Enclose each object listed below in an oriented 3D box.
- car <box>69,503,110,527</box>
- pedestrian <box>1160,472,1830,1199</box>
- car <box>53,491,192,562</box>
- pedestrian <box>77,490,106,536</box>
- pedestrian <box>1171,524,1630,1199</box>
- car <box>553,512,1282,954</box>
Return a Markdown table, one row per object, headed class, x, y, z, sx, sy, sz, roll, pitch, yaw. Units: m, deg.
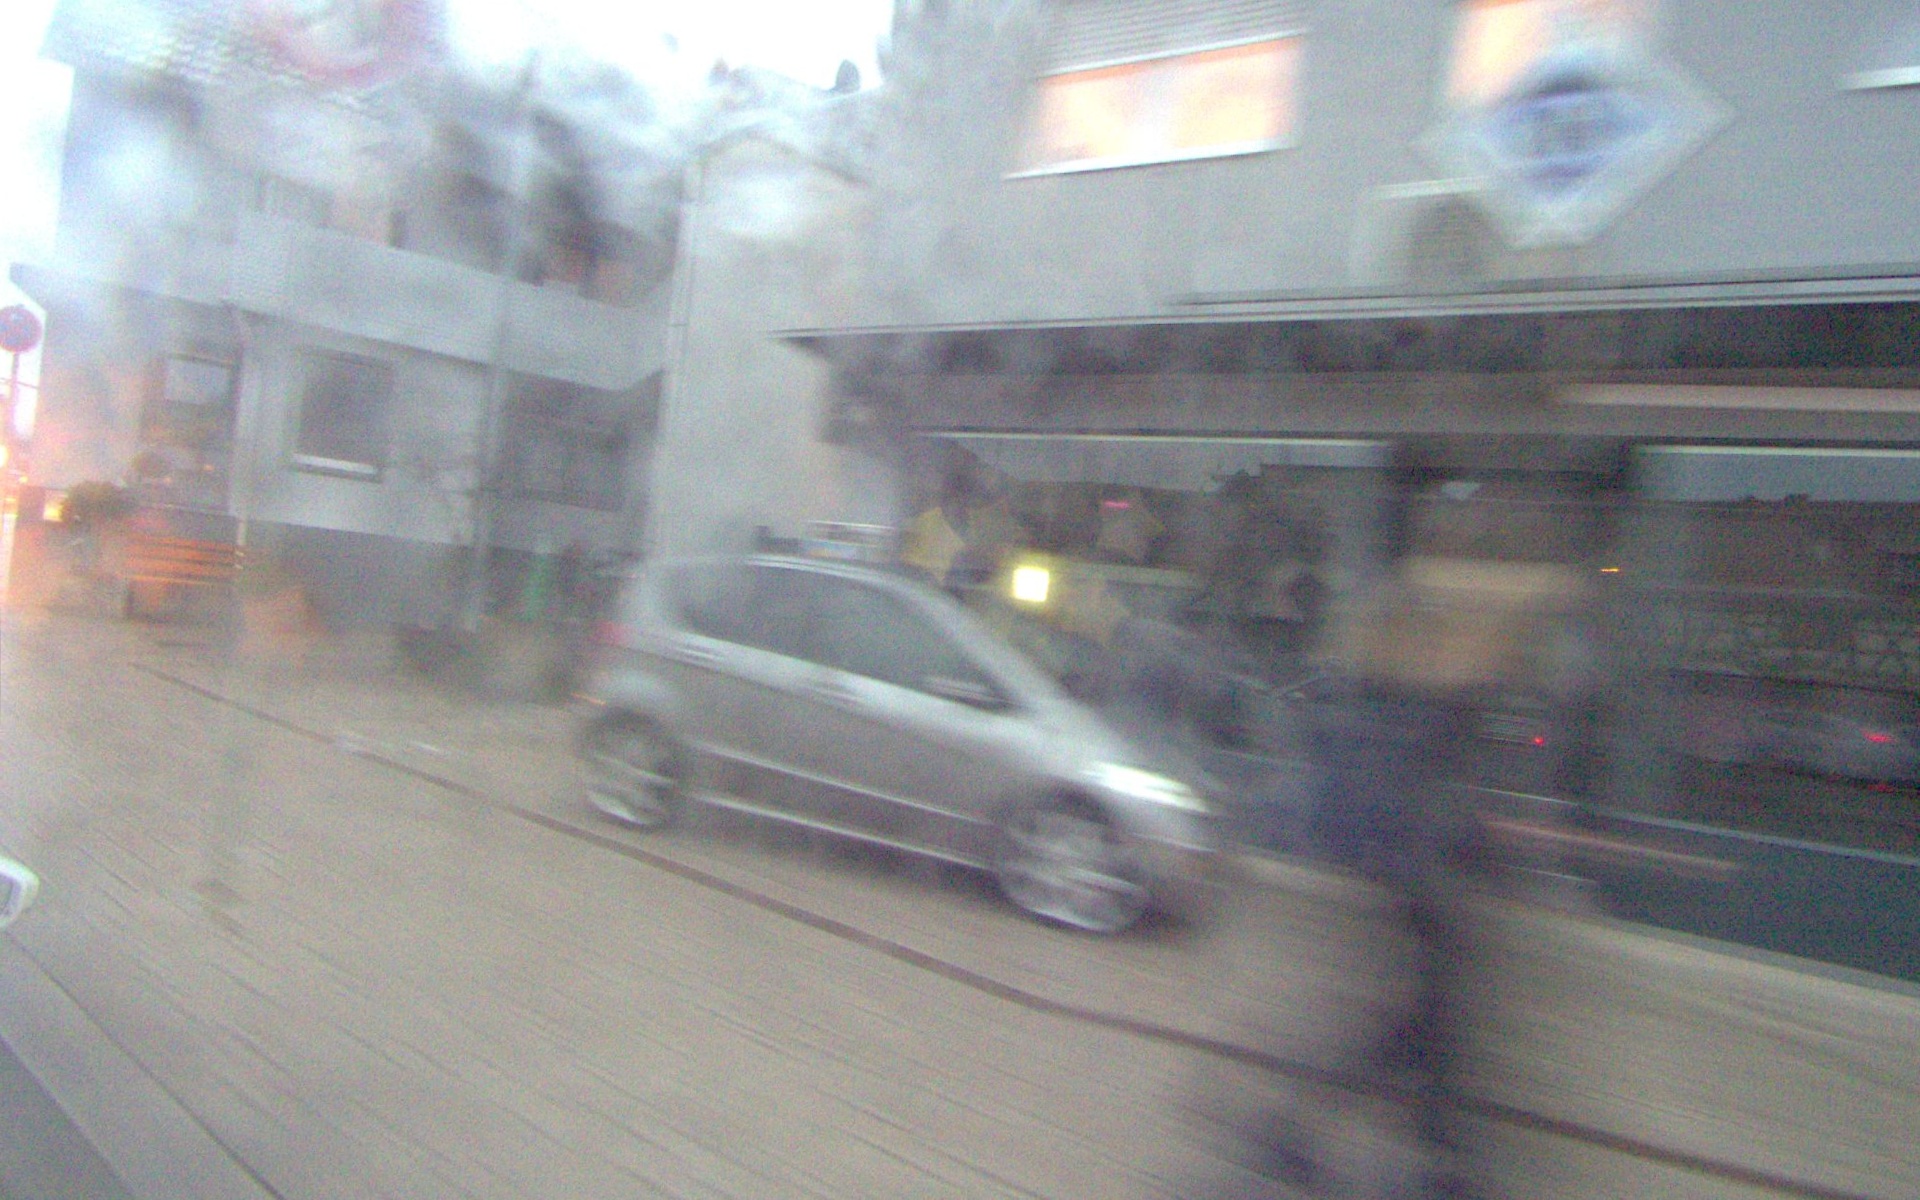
| class | x | y | z | sx | sy | sz | roll | pitch | yaw |
| --- | --- | --- | --- | --- | --- | --- | --- | --- | --- |
| car | -52.348 | -5.113 | 60.537 | 1.523 | 1.263 | 3.610 | 1 | 4 | -36 |
| pedestrian | 1.012 | 0.685 | 2.086 | 0.791 | 1.721 | 0.713 | 6 | 1 | -13 |
| car | -21.869 | -1.892 | 26.478 | 1.867 | 1.485 | 4.509 | 5 | 1 | -29 |
| pedestrian | -38.137 | -3.803 | 44.195 | 0.658 | 1.910 | 0.817 | 8 | -1 | -31 |
| pedestrian | 1.136 | 0.704 | 2.725 | 0.778 | 1.690 | 0.580 | 6 | 1 | -8 |
| car | -0.208 | 0.537 | 5.695 | 3.596 | 1.581 | 1.738 | 7 | 1 | 23 |
